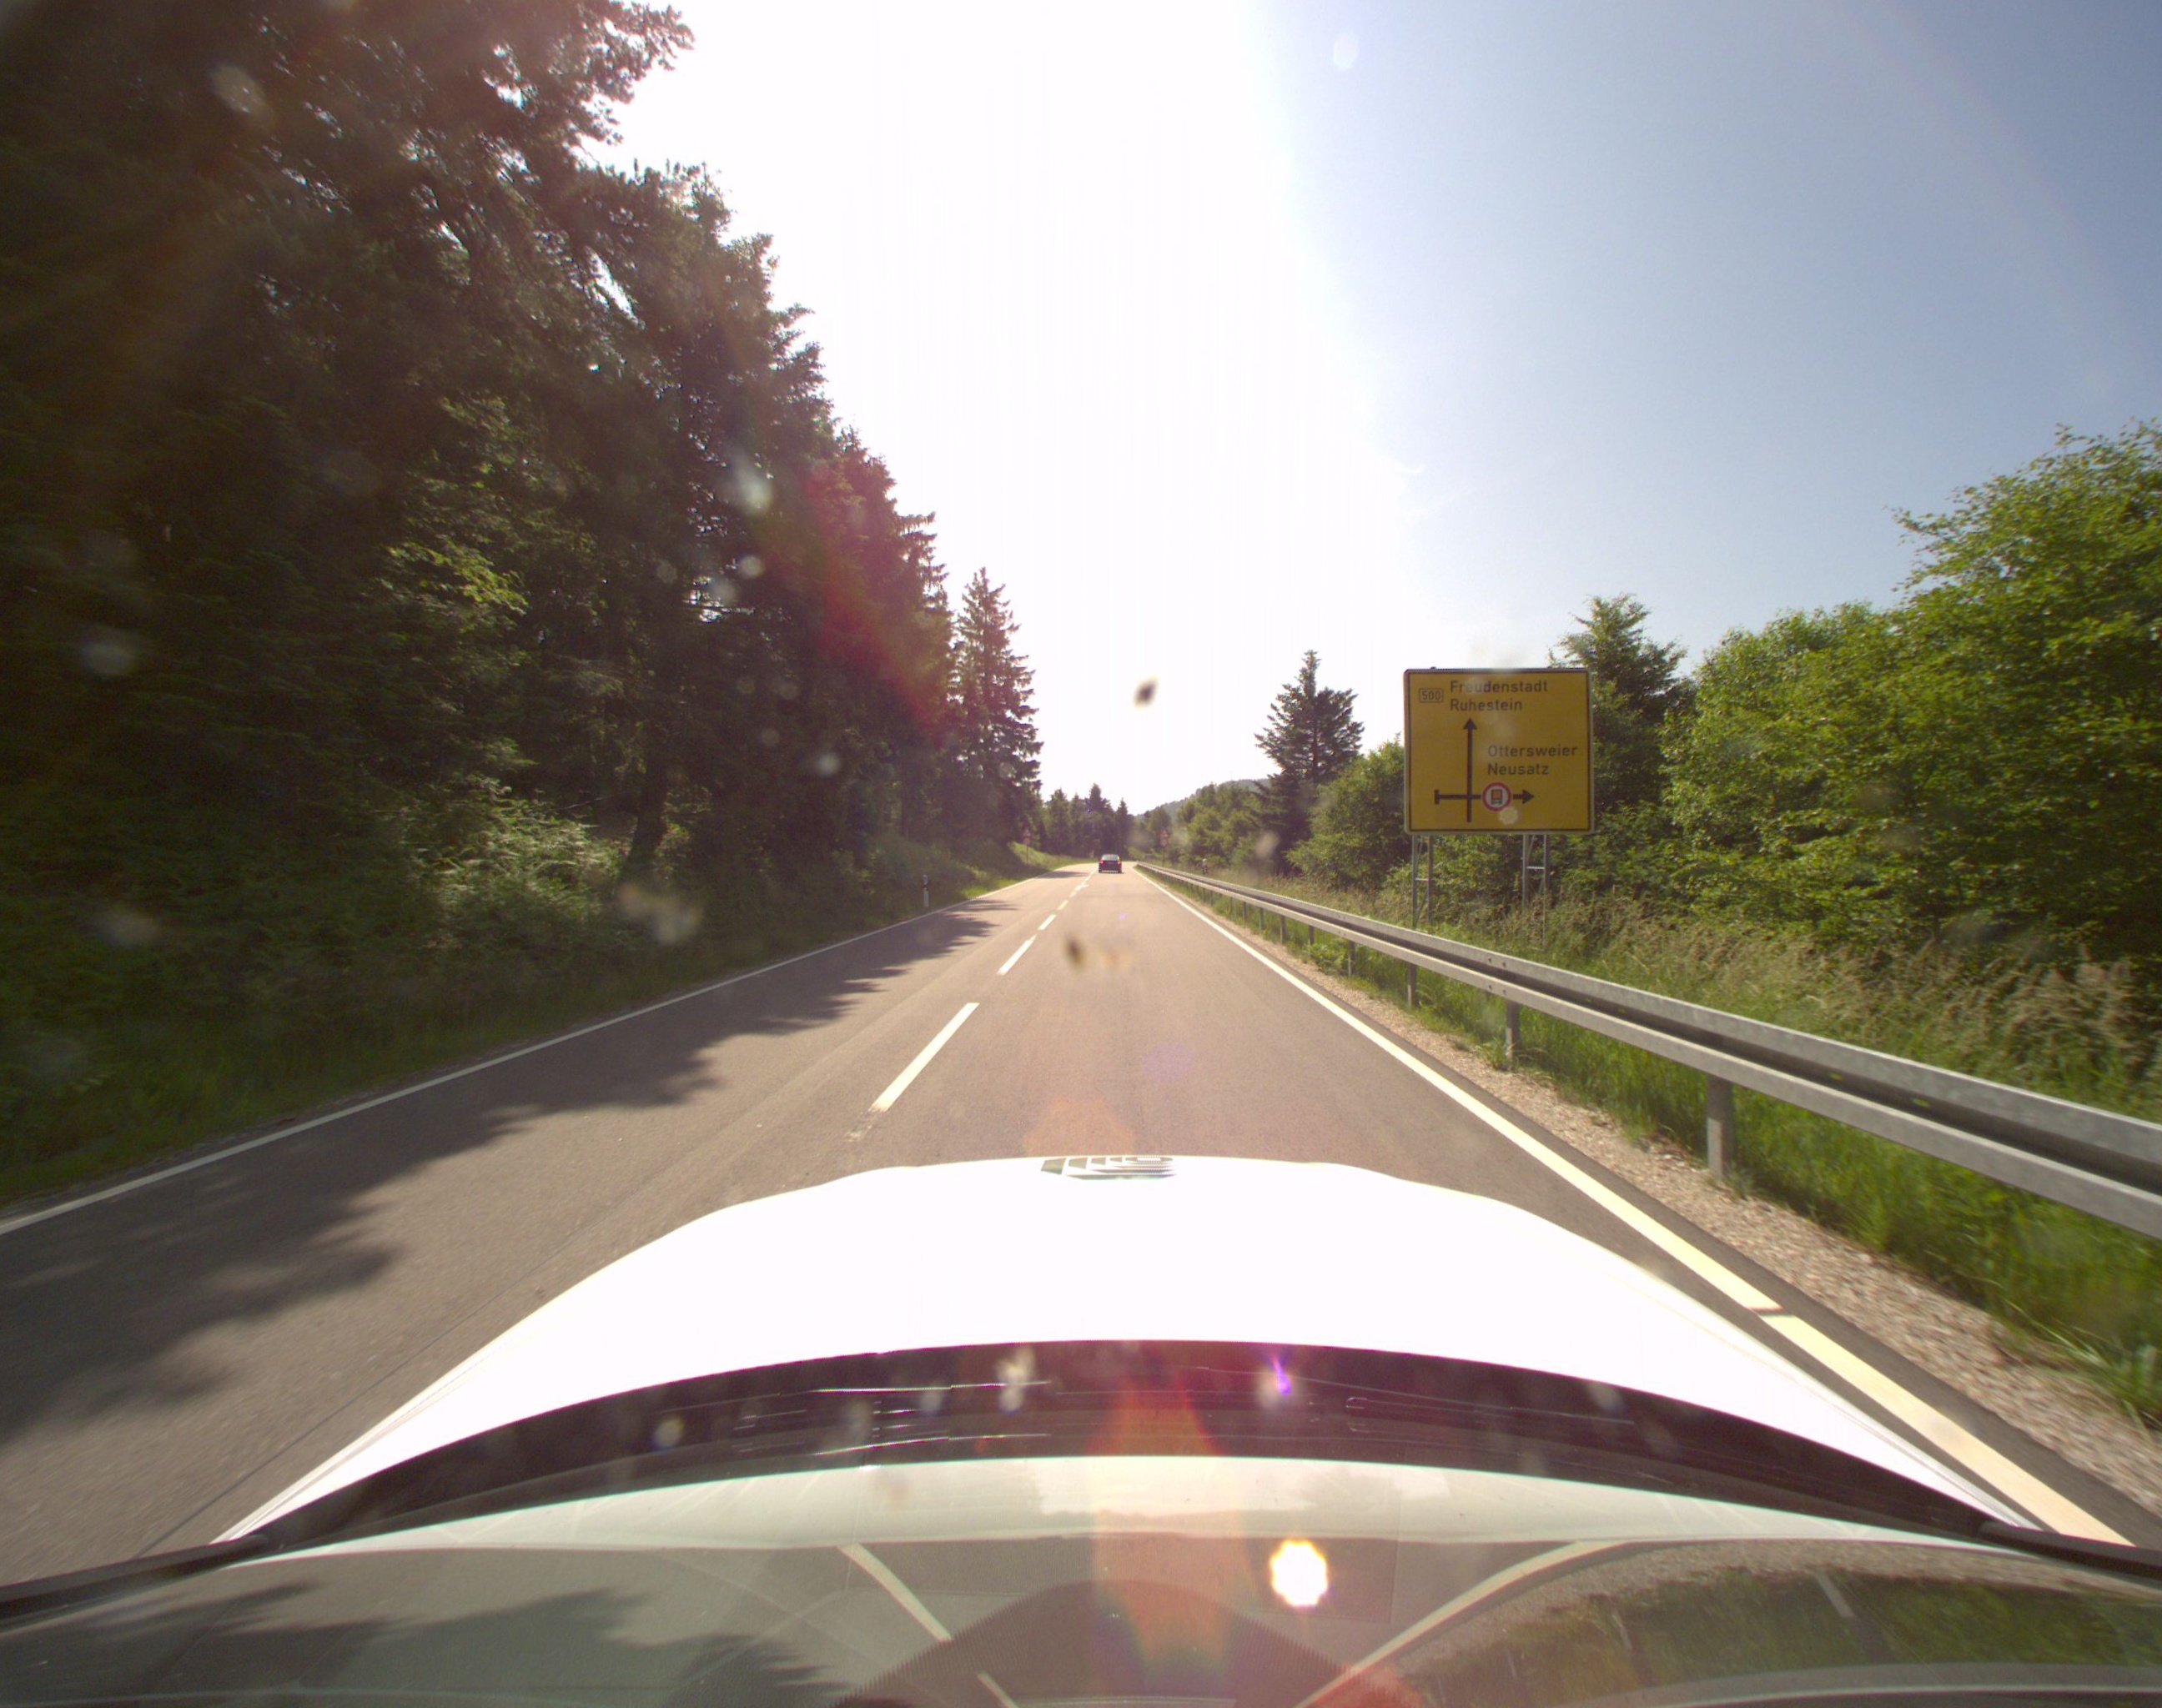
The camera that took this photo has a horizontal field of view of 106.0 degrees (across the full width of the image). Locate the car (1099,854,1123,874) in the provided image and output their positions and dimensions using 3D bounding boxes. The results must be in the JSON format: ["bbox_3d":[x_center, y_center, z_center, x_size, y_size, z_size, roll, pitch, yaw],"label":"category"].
[{"bbox_3d":[2.360,0.769,63.643,1.769,1.442,3.711,0,0,3],"label":"car"}]
